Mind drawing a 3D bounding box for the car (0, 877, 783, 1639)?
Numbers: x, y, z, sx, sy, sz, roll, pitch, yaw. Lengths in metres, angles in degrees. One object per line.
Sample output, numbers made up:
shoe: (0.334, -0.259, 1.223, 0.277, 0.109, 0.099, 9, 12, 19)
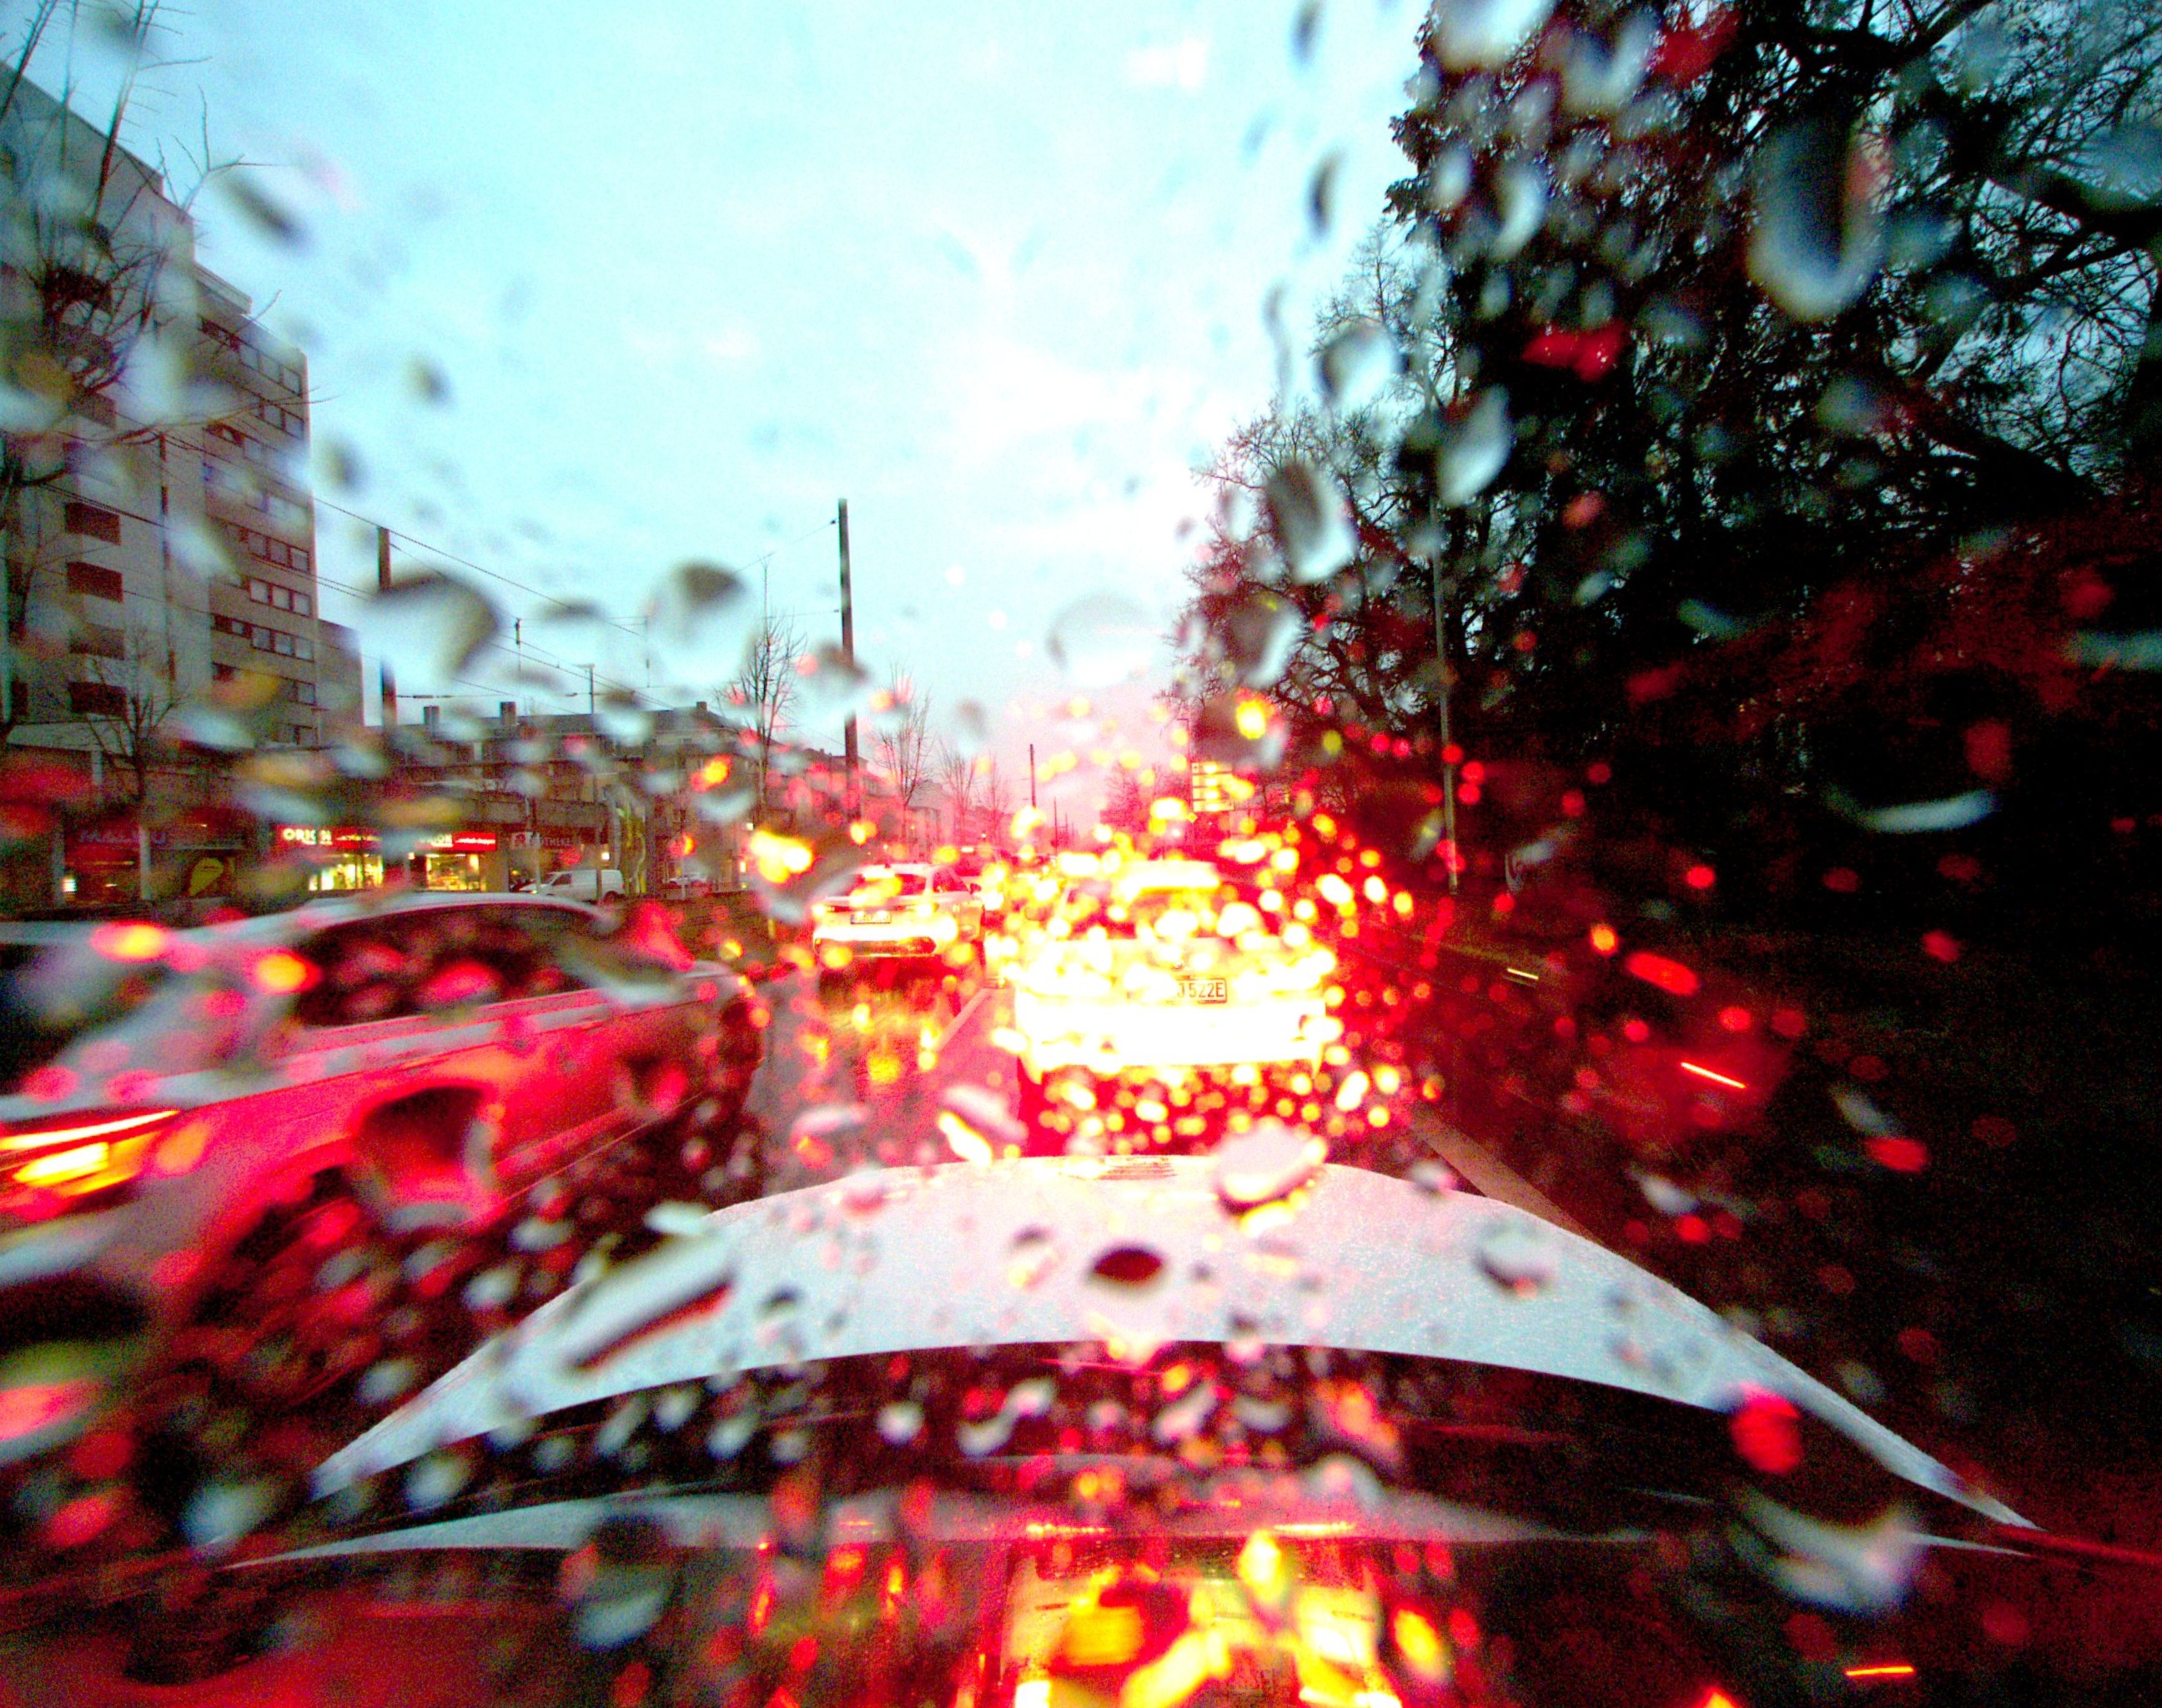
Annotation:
car: (-2.941, 0.849, 3.536, 1.756, 1.371, 3.981, -1, 0, 1)

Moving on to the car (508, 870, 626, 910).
car: (-28.866, 2.012, 45.937, 1.974, 1.912, 5.197, -3, 0, 34)

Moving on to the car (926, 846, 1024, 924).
car: (-2.550, 0.715, 20.672, 1.787, 1.736, 4.537, -1, 0, 1)

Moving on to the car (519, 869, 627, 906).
car: (-30.719, 1.996, 49.350, 5.193, 1.912, 1.975, -3, 0, -44)

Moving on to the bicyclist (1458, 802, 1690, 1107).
bicyclist: (2.479, 0.465, 4.204, 0.642, 1.389, 0.891, -2, 0, 4)

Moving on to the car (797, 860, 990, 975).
car: (-2.638, 0.825, 12.619, 1.840, 1.405, 4.614, -1, 0, 1)

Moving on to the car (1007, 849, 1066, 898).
car: (-1.566, 0.668, 29.973, 1.800, 1.646, 4.002, -1, 0, 2)

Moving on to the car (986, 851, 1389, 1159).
car: (0.603, 0.761, 6.196, 1.992, 1.508, 4.165, -2, 0, 2)

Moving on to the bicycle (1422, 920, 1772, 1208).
bicycle: (2.504, 0.933, 4.303, 0.642, 0.966, 2.049, -2, 0, 4)

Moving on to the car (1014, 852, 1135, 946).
car: (-0.038, 0.727, 15.209, 1.928, 1.457, 4.165, -2, 0, 2)

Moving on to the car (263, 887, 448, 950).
car: (-23.987, 2.064, 27.213, 1.889, 1.634, 4.582, -2, 0, 2)

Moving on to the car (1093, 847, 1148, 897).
car: (1.395, 0.615, 29.403, 1.800, 1.646, 4.002, -1, 0, 2)
